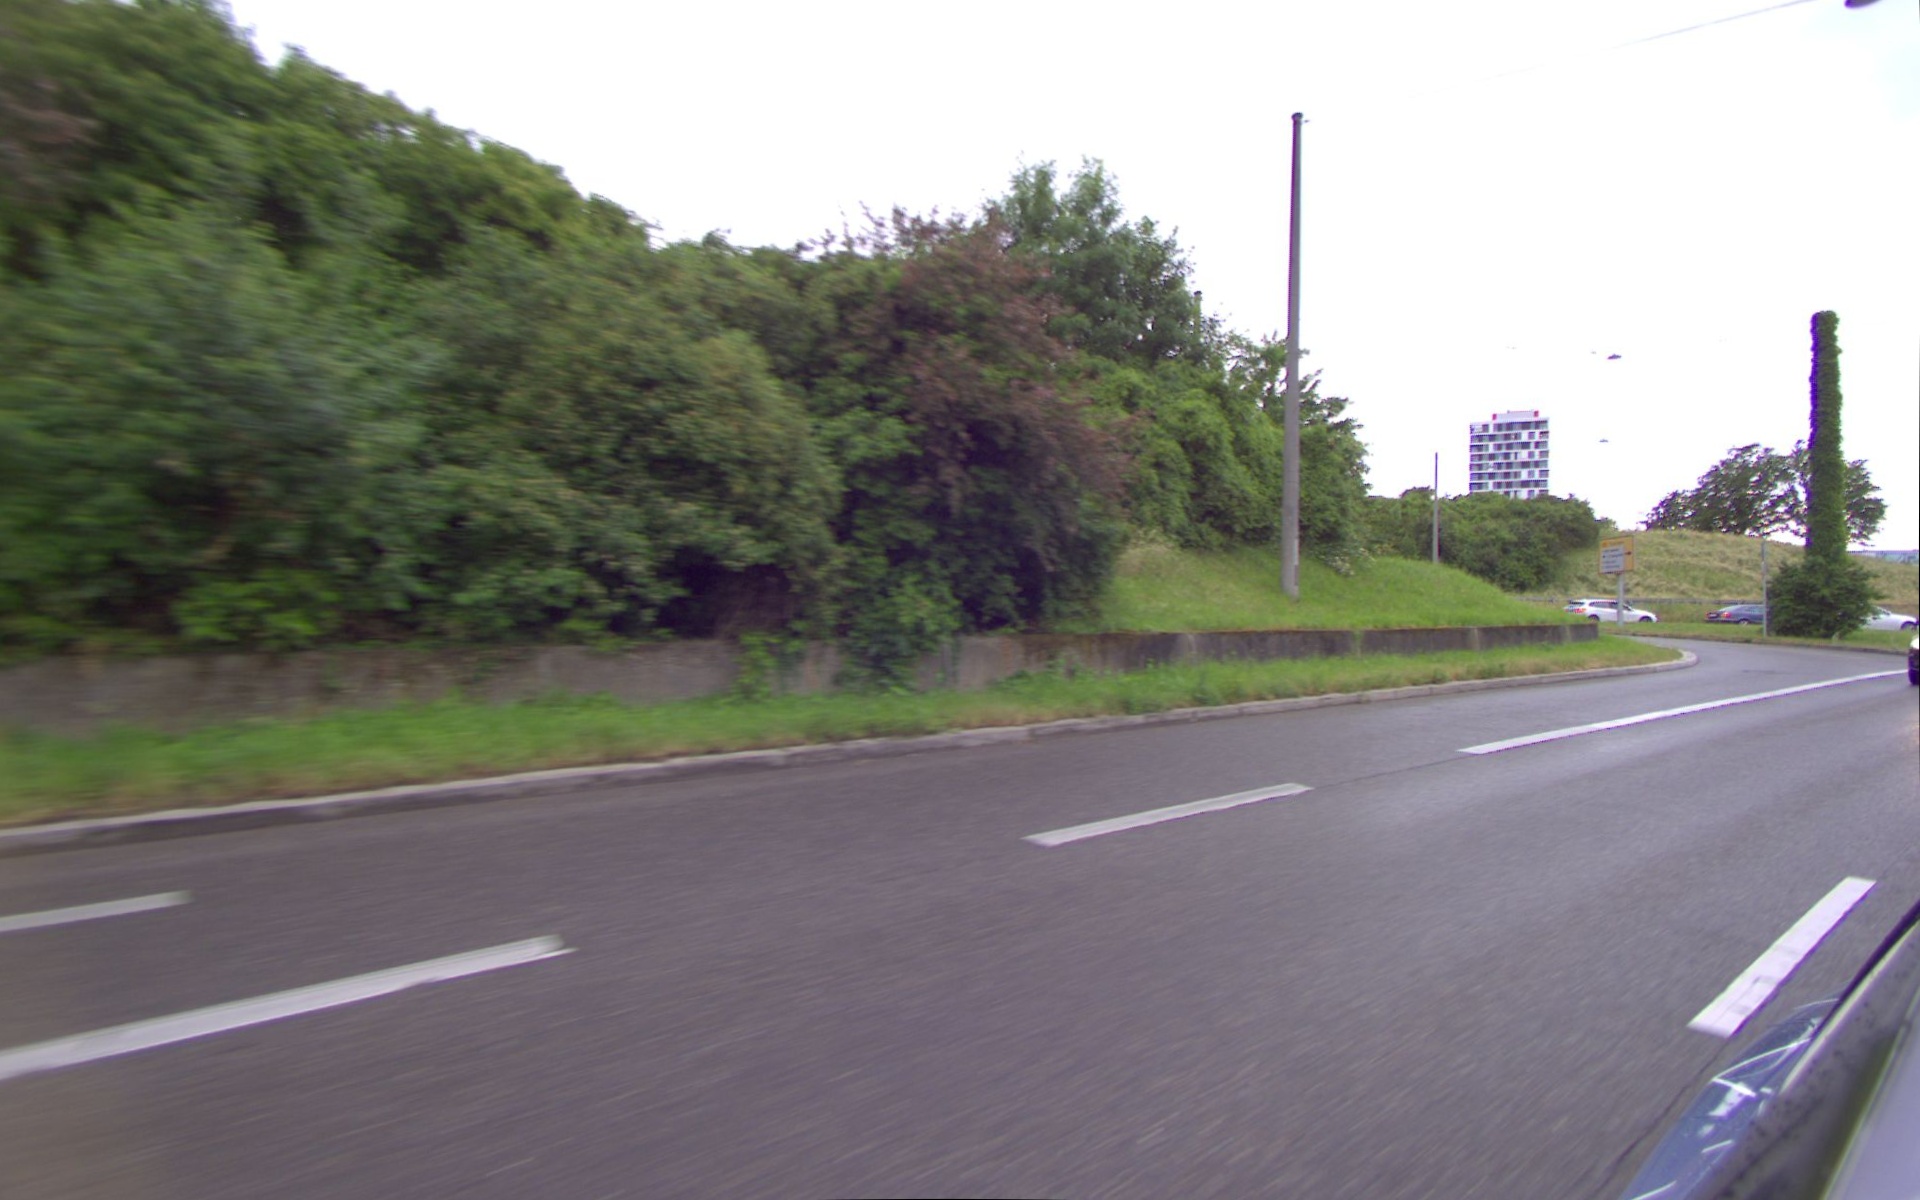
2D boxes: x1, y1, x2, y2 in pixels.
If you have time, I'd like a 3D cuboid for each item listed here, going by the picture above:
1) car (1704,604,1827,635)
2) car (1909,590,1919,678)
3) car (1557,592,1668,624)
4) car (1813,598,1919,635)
[{"bbox_3d":[40.204,0.948,50.608,4.476,1.368,1.839,2,-1,7],"label":"car"},{"bbox_3d":[19.877,0.630,19.205,4.198,1.621,1.929,0,0,-36],"label":"car"},{"bbox_3d":[32.935,0.428,51.152,4.192,1.447,2.074,2,-1,2],"label":"car"},{"bbox_3d":[43.035,0.745,46.926,4.904,1.666,2.071,0,-1,7],"label":"car"}]
